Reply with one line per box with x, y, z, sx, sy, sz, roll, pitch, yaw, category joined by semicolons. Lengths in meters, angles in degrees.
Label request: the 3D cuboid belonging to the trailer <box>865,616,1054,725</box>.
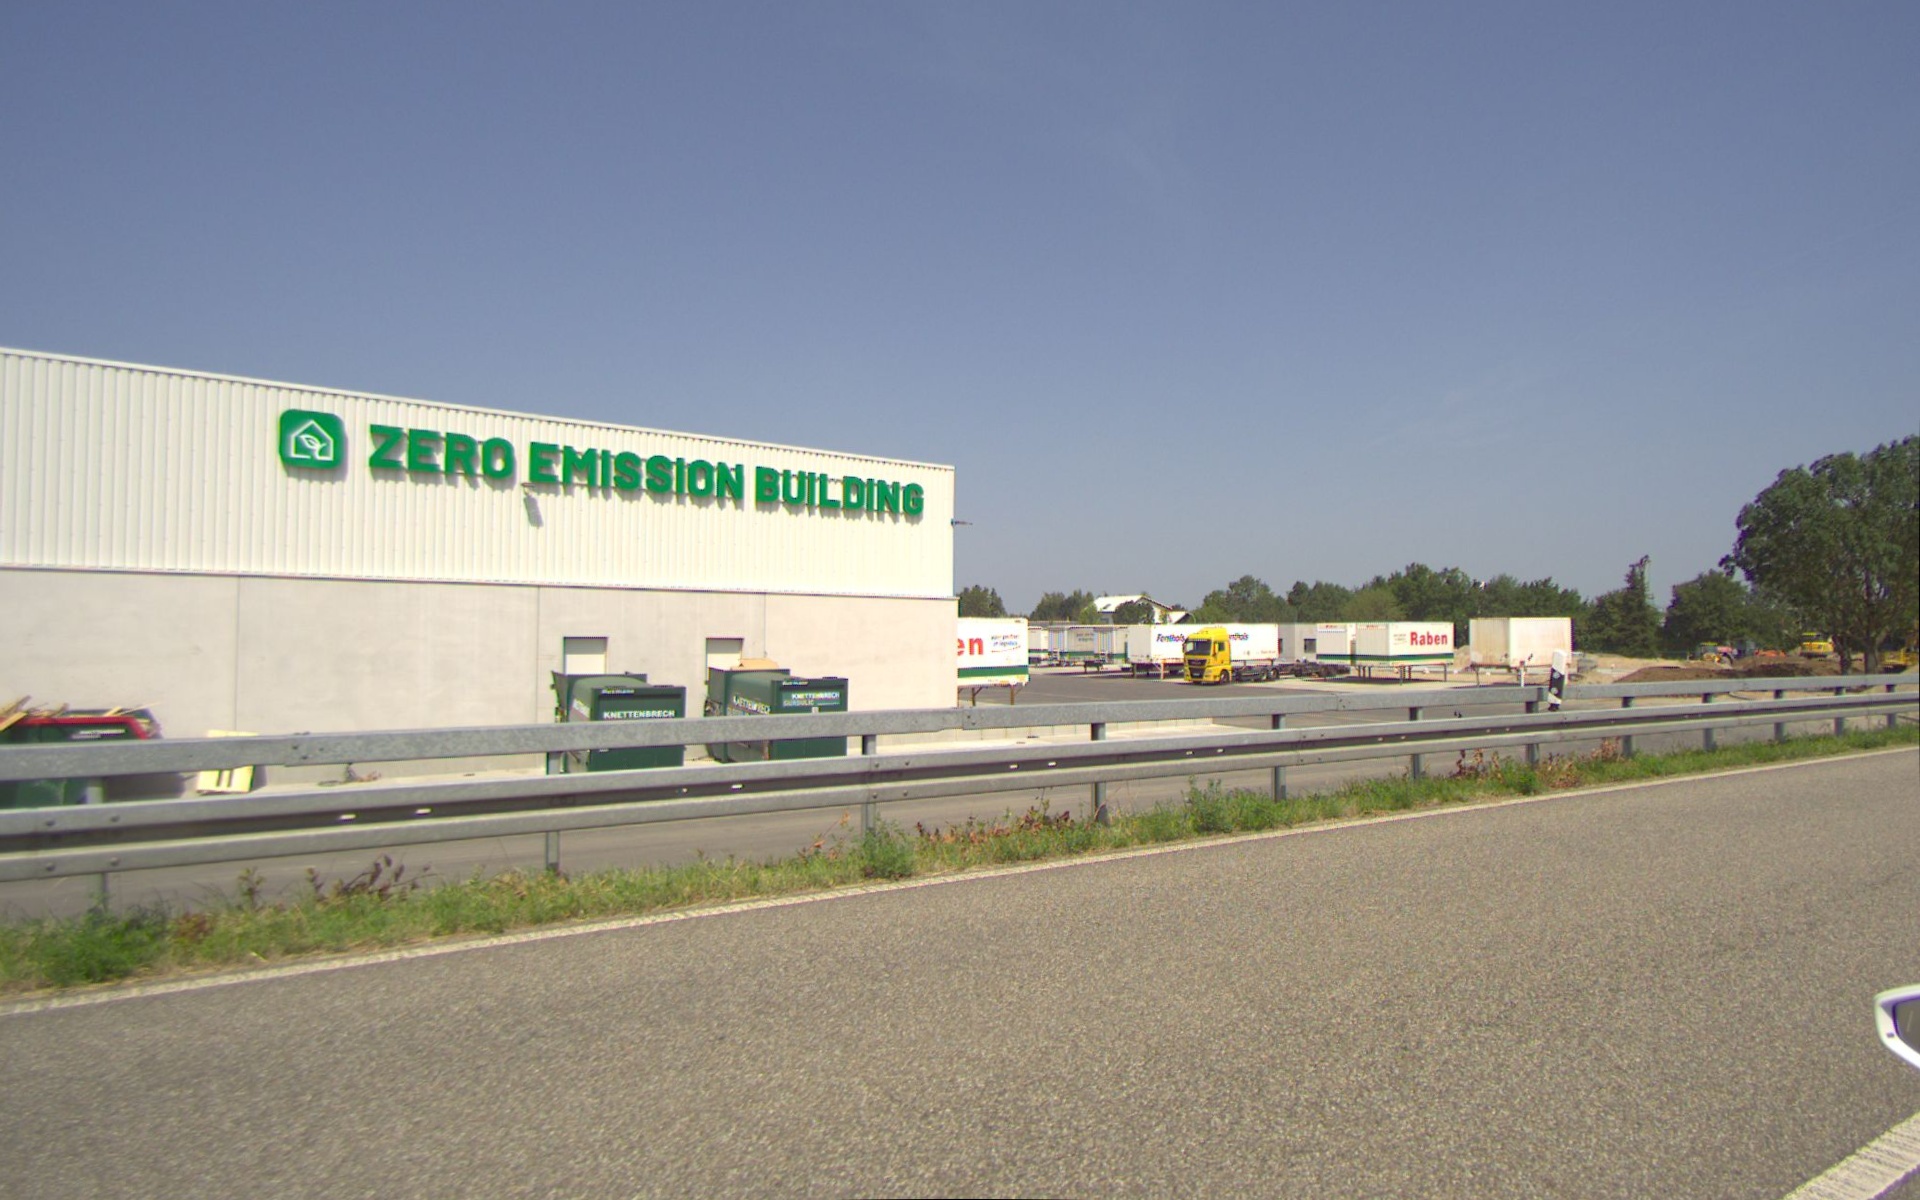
0.092;2.803;40.750;7.507;4.040;2.645;3;-2;-35;trailer

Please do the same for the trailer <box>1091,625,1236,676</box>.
16.620;3.928;81.004;13.935;3.740;2.639;1;-1;-35;trailer

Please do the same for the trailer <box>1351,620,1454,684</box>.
30.464;3.469;68.981;7.814;4.203;2.727;1;-1;-34;trailer

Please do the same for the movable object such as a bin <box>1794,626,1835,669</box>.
76.608;4.292;90.083;2.591;3.700;5.434;-4;-4;41;movable object such as a bin

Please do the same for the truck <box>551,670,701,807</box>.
-7.509;2.876;22.238;2.206;2.364;4.986;1;-1;-30;truck

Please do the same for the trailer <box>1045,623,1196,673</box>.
14.100;4.035;86.628;15.304;3.974;2.639;1;-1;-35;trailer

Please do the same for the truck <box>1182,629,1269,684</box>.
18.425;3.848;69.471;6.798;3.556;2.348;1;-1;-40;truck

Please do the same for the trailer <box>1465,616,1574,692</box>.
34.522;3.196;61.843;7.871;4.390;2.662;1;-1;-35;trailer

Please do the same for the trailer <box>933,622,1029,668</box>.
2.250;4.521;102.801;10.759;4.463;2.634;1;-1;-40;trailer

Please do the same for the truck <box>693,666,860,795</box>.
-4.678;3.071;24.972;2.250;2.571;5.013;2;-1;-34;truck

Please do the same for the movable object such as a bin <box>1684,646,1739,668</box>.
73.606;5.604;98.432;1.986;2.039;3.950;2;-5;-43;movable object such as a bin

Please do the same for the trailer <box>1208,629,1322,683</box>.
22.244;3.910;72.728;11.078;3.556;2.348;1;-1;-40;trailer

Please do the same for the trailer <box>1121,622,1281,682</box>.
19.269;3.947;79.211;15.426;4.317;2.679;1;-1;-35;trailer

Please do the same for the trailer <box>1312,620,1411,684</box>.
28.582;3.583;71.389;7.459;4.275;2.837;1;-1;-34;trailer
